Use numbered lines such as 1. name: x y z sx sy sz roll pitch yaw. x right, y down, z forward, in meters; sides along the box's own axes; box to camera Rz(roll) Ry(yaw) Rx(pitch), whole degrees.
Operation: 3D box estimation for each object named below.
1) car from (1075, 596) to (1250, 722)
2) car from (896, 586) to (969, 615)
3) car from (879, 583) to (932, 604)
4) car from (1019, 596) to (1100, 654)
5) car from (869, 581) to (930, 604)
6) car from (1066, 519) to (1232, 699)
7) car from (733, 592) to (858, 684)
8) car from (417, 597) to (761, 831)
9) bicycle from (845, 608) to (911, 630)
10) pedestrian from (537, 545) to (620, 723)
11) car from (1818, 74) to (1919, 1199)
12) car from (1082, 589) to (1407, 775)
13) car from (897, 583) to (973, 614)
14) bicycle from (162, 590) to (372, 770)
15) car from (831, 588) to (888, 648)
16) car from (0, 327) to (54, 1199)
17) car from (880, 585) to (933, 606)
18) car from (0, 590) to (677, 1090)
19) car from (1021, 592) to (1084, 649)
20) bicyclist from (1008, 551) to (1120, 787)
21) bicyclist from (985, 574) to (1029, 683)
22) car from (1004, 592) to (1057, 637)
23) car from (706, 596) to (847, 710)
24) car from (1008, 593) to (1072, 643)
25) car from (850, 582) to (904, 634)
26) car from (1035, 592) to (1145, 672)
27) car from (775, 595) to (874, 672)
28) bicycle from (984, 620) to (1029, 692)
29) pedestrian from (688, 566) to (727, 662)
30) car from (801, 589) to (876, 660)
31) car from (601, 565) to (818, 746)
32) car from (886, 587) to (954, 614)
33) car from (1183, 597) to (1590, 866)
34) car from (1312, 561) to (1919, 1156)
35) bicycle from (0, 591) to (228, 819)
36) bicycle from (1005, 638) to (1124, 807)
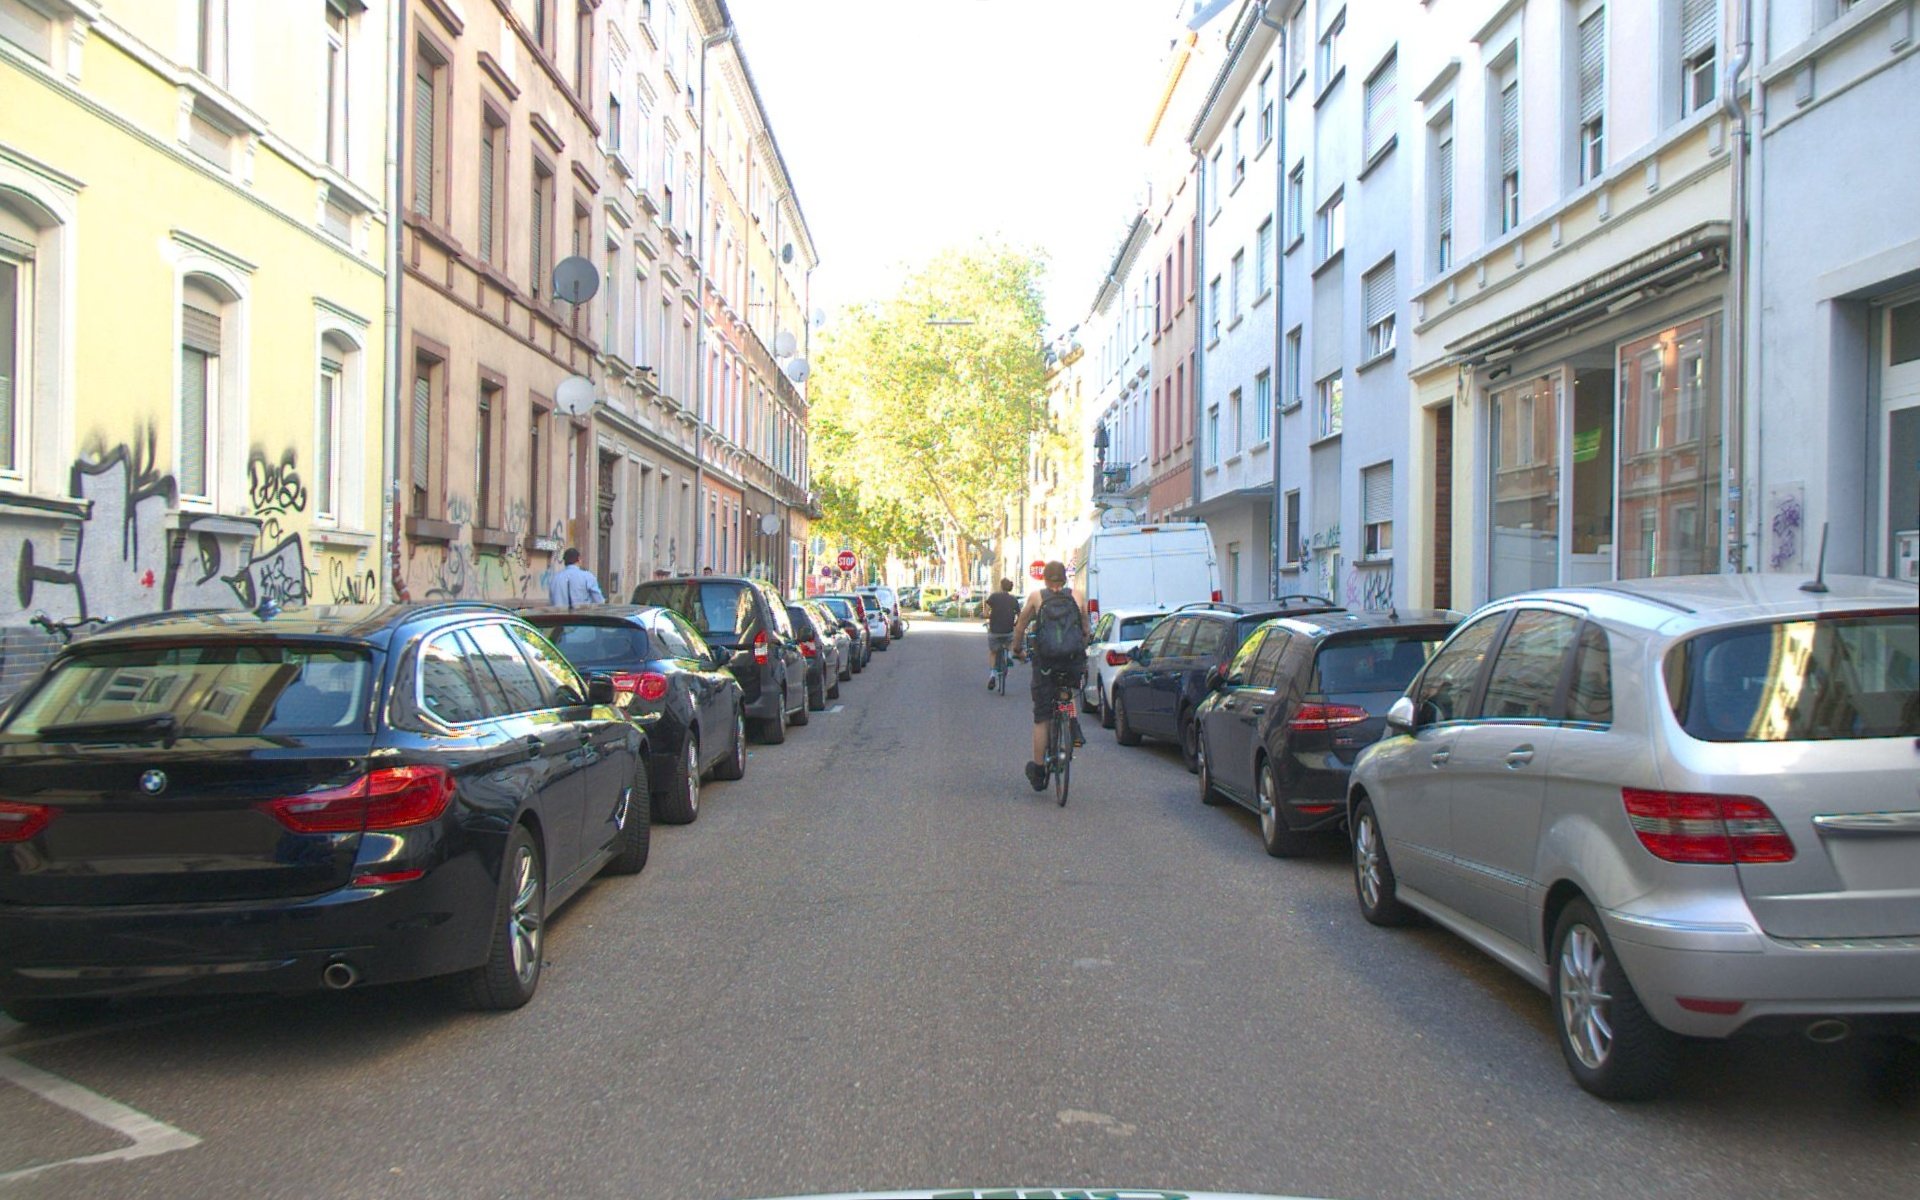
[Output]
1. car: 2.523 0.691 21.389 1.690 1.454 3.831 0 0 -2
2. car: -1.710 0.015 102.136 4.382 1.725 1.864 0 0 -5
3. car: -4.595 -0.541 139.680 4.382 1.725 1.864 0 0 -5
4. car: 2.422 0.589 41.065 1.624 1.361 3.998 0 0 -2
5. car: -4.466 -0.547 122.053 4.382 1.725 1.864 0 0 -5
6. car: 2.916 0.113 26.836 2.159 2.595 6.037 0 0 2
7. car: -2.747 0.601 28.329 1.639 1.455 3.889 0 0 2
8. car: -2.574 0.713 12.417 1.701 1.452 4.000 0 0 0
9. bicycle: -3.338 0.766 67.320 2.661 0.907 0.618 0 0 -3
10. pedestrian: -4.104 0.353 17.822 0.637 1.849 0.754 2 0 0
11. car: 2.878 0.272 0.235 2.131 2.468 6.308 -1 0 -1
12. car: 2.683 0.698 16.805 1.778 1.503 4.598 -3 1 -10
13. car: -1.486 -0.111 97.310 4.382 1.790 1.864 0 0 -5
14. bicycle: -5.435 0.574 13.147 0.654 1.267 2.327 3 0 -1
15. car: -2.771 0.472 45.723 1.514 1.578 3.463 0 0 -4
16. car: -2.527 0.533 0.649 1.790 1.925 4.613 -2 0 0
17. car: -4.470 -0.390 137.673 4.382 1.725 1.864 0 0 -5
18. car: -2.477 0.715 7.357 1.824 1.465 4.643 0 1 -2
19. car: 2.547 0.547 46.158 1.559 1.518 3.875 0 0 0
20. bicyclist: 0.779 0.504 12.684 0.725 1.708 1.116 2 0 -1
21. bicyclist: 0.738 0.432 26.071 0.656 1.687 0.877 0 0 -1
22. car: 2.479 0.486 58.722 1.619 1.557 3.573 0 0 -2
23. car: -2.508 0.684 23.356 1.559 1.465 3.654 0 0 0
24. car: 2.465 0.535 51.615 1.676 1.496 3.998 0 0 -2
25. car: -2.869 0.264 57.924 1.751 1.767 3.875 0 0 -1
26. car: 2.560 0.599 33.362 1.696 1.496 4.019 0 0 -3
27. car: -2.678 0.617 33.390 1.671 1.438 4.301 0 0 -1
28. bicycle: 0.725 0.861 26.179 0.650 1.055 1.958 0 0 0
29. pedestrian: -5.122 0.283 33.574 0.598 1.890 0.754 2 0 -1
30. car: -2.778 0.532 38.348 1.572 1.557 3.377 -1 0 -2
31. car: -2.651 0.544 18.375 1.764 1.728 4.000 -2 0 0
32. car: -2.626 0.013 108.751 4.382 1.725 1.864 0 0 -5
33. car: 2.721 0.746 11.556 1.710 1.511 4.242 0 0 -1
34. car: 2.787 0.692 6.805 1.659 1.636 4.374 -1 0 -1
35. bicycle: -5.444 0.595 10.504 0.660 1.293 2.086 1 0 -1
36. bicycle: 0.768 0.891 12.741 0.725 1.120 2.042 2 0 -1
